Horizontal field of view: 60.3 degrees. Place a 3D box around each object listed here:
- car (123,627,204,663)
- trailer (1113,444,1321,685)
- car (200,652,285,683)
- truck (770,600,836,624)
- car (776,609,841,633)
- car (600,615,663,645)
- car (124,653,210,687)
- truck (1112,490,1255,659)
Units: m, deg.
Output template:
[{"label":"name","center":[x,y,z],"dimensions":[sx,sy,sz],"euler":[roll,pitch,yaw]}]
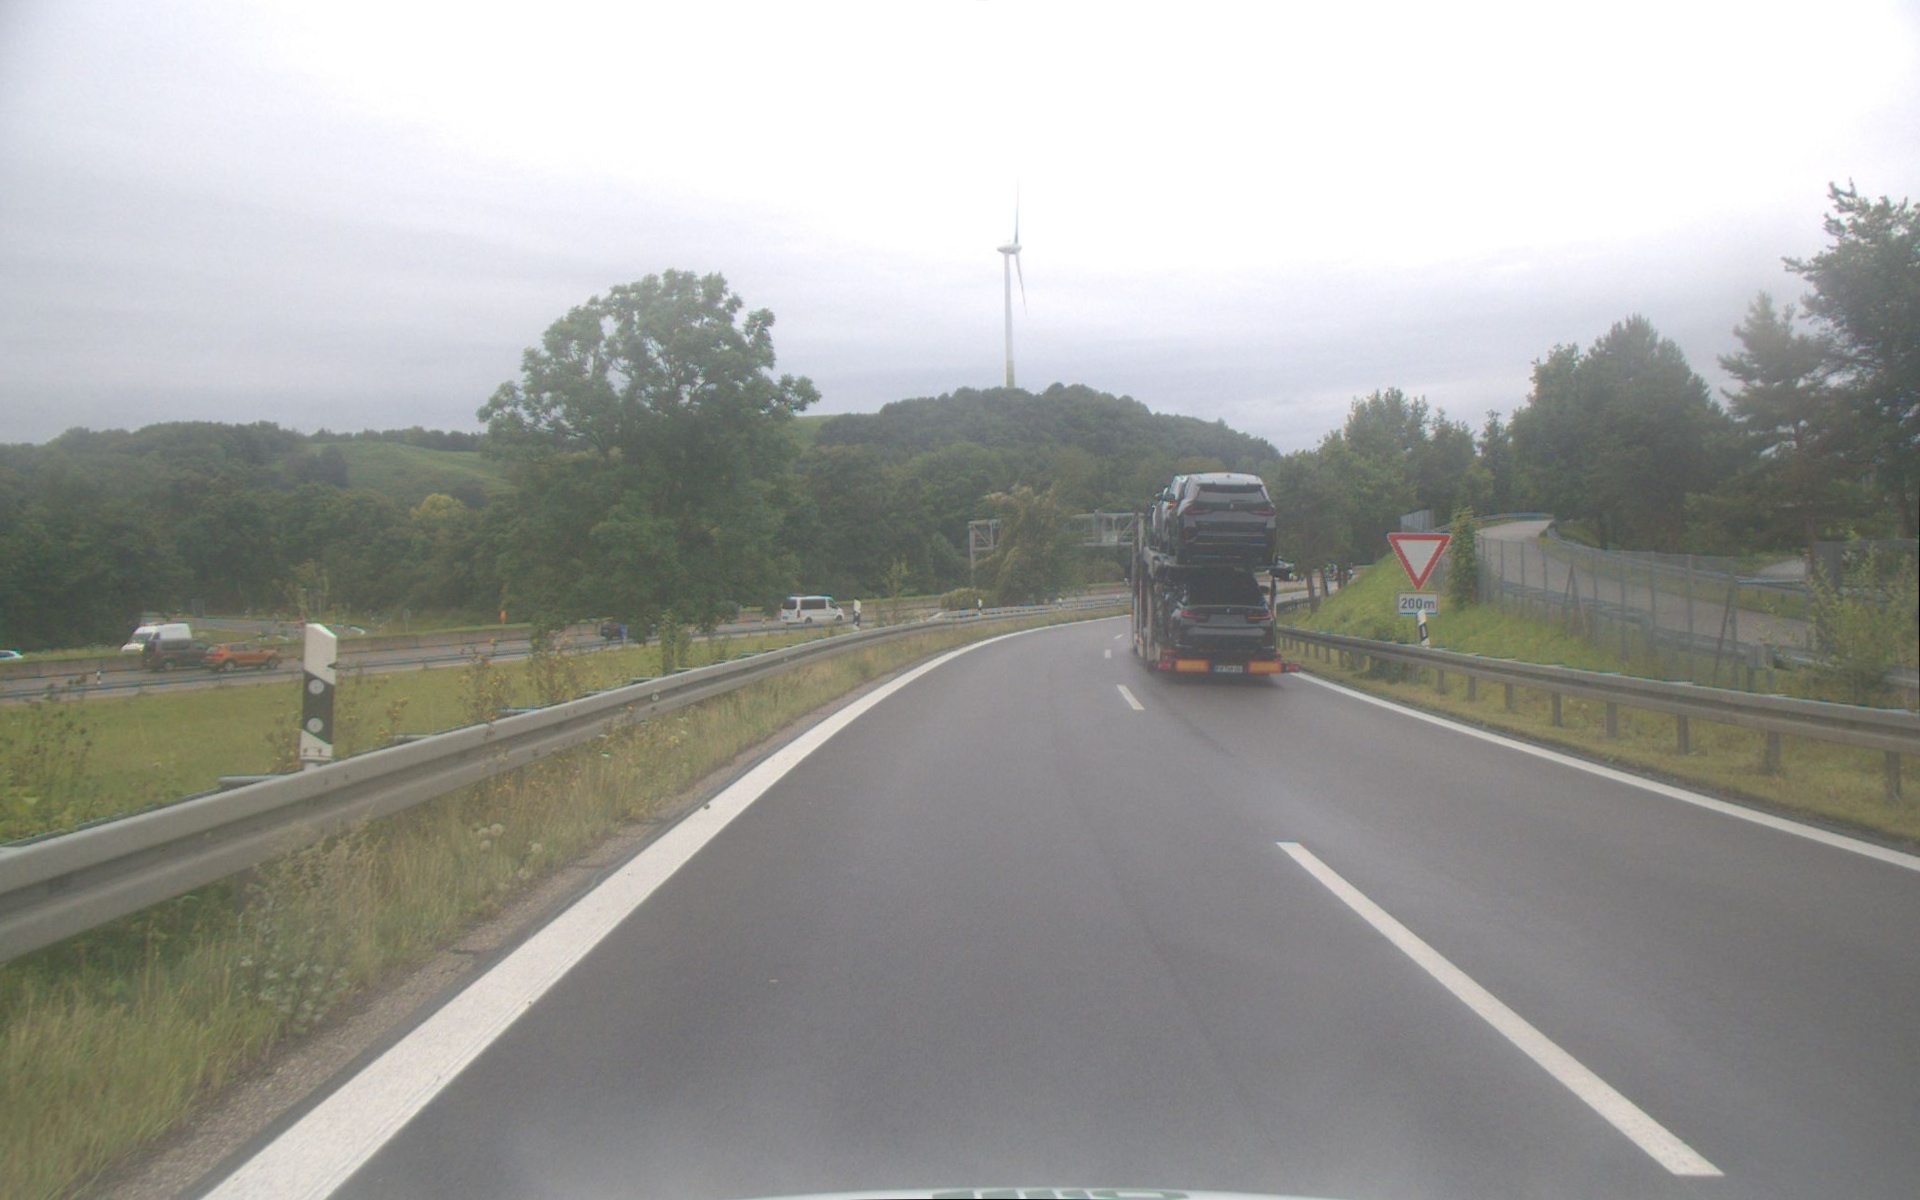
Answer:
[{"label":"car","center":[-59.468,3.339,123.664],"dimensions":[1.977,2.138,5.970],"euler":[-5,1,13]},{"label":"trailer","center":[4.975,-0.610,34.540],"dimensions":[3.376,4.069,12.033],"euler":[1,0,5]},{"label":"car","center":[-41.027,3.844,94.657],"dimensions":[1.894,1.299,3.984],"euler":[-6,0,38]},{"label":"truck","center":[-12.173,0.926,128.174],"dimensions":[1.962,1.747,5.299],"euler":[-1,0,39]},{"label":"car","center":[-11.805,1.629,129.131],"dimensions":[1.962,1.747,5.299],"euler":[-1,0,39]},{"label":"car","center":[-23.364,2.128,117.809],"dimensions":[1.962,1.746,3.984],"euler":[-6,0,38]},{"label":"car","center":[-45.355,3.985,94.651],"dimensions":[1.963,1.690,3.979],"euler":[-1,0,40]},{"label":"truck","center":[5.991,-0.618,46.057],"dimensions":[3.323,4.069,10.853],"euler":[1,0,5]}]
